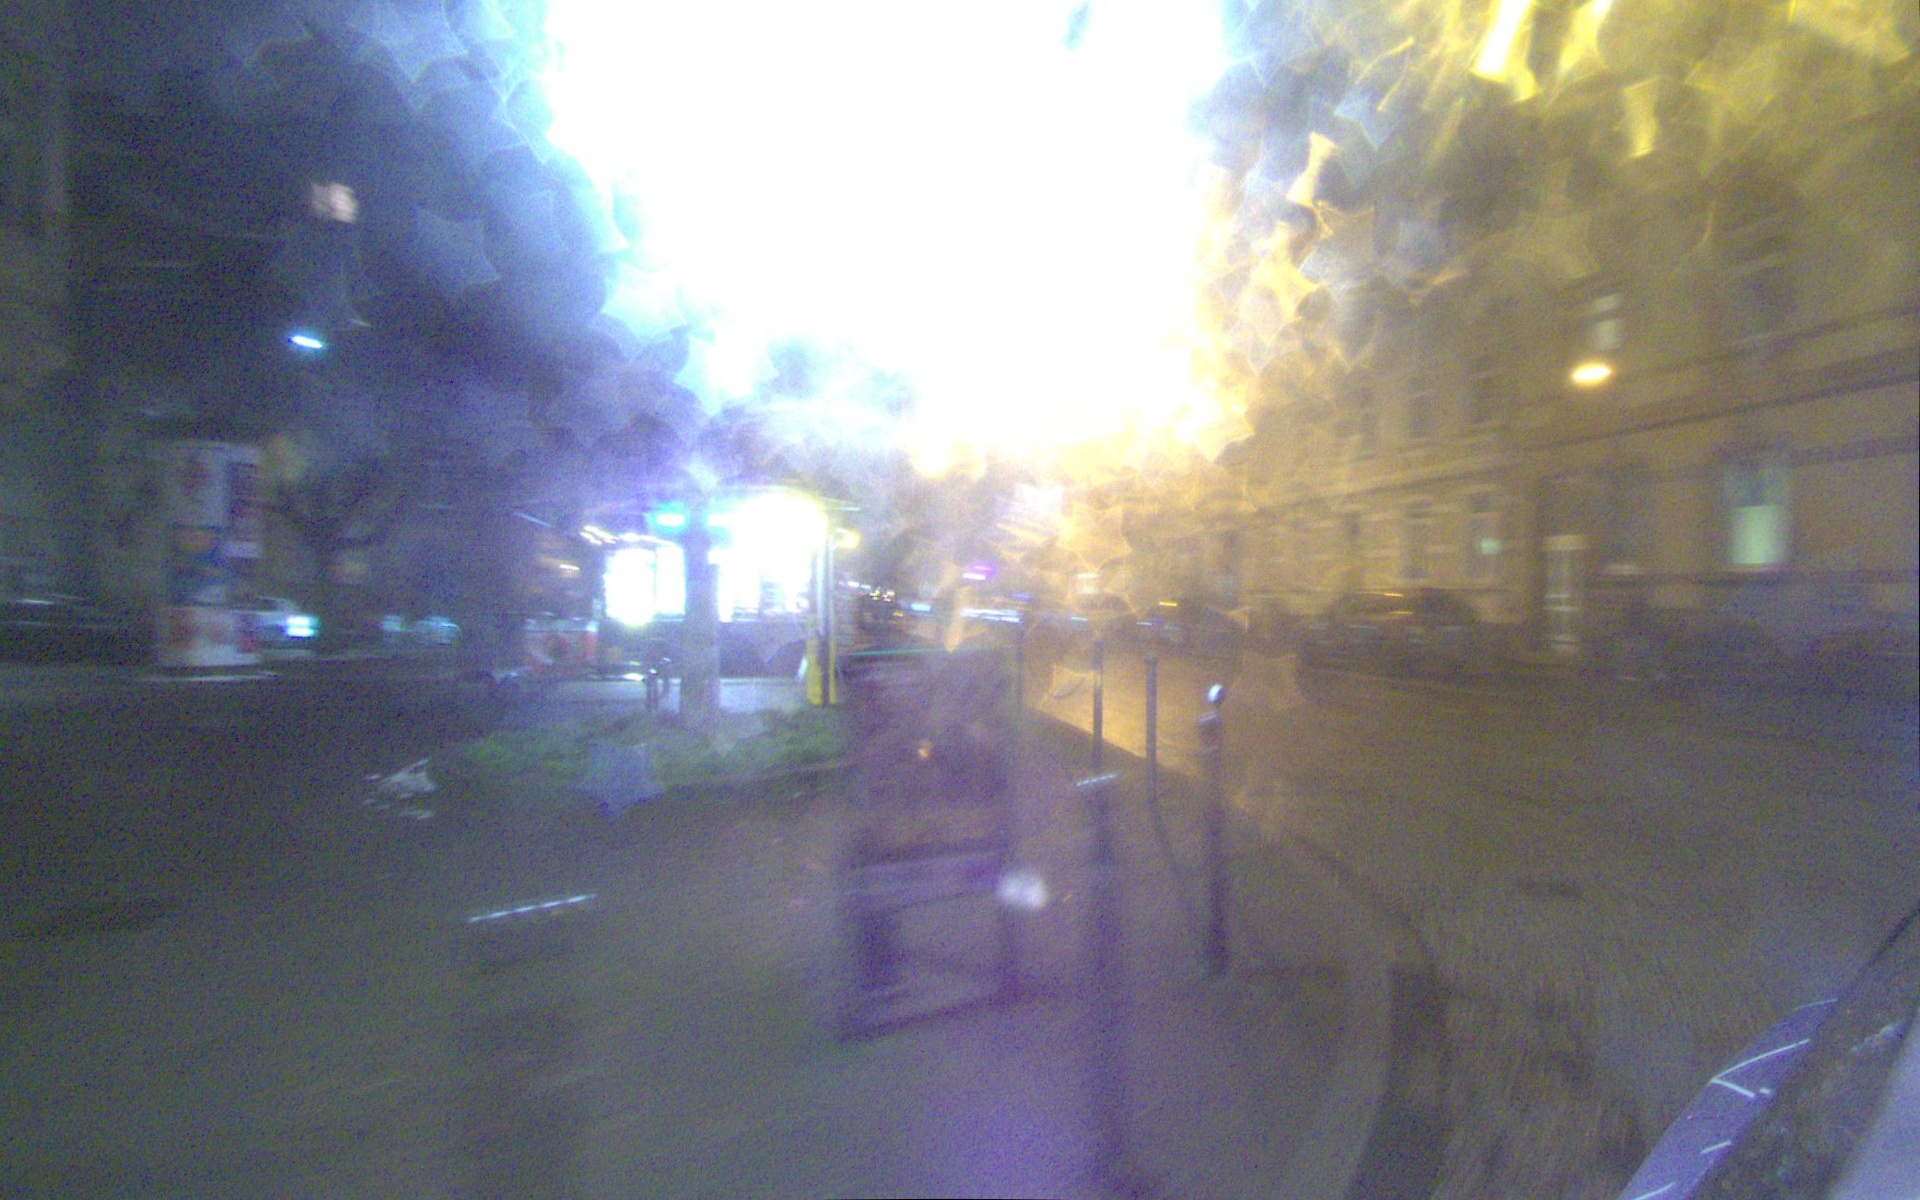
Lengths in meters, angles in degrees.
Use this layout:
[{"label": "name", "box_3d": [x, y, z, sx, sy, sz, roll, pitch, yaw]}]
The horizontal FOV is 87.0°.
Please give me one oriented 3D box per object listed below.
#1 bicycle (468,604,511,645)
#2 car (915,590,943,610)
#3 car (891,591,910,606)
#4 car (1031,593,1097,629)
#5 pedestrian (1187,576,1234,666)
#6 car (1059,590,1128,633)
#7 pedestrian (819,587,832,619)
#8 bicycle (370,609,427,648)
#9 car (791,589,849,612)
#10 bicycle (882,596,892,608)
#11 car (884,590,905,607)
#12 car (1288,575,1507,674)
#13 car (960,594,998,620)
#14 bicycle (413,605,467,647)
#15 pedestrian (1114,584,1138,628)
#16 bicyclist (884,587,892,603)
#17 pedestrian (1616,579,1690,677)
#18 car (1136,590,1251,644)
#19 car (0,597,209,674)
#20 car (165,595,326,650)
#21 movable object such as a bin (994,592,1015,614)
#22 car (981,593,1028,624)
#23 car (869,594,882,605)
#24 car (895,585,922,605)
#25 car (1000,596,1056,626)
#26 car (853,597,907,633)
[{"label": "bicycle", "box_3d": [-13.931, 0.711, 30.024, 0.498, 1.129, 1.986, -2, 1, -5]}, {"label": "car", "box_3d": [-2.646, -0.005, 85.196, 1.737, 1.501, 4.779, -3, 1, -9]}, {"label": "car", "box_3d": [-6.111, -0.195, 103.264, 1.542, 1.478, 3.725, 0, 0, -9]}, {"label": "car", "box_3d": [4.555, 0.445, 44.996, 1.801, 1.499, 4.314, 0, 0, -10]}, {"label": "pedestrian", "box_3d": [5.722, 0.470, 23.148, 0.754, 1.998, 0.659, -2, 1, -16]}, {"label": "car", "box_3d": [5.282, 0.423, 40.479, 1.715, 1.608, 3.772, 0, 0, -10]}, {"label": "pedestrian", "box_3d": [-7.687, 0.171, 57.765, 0.691, 1.811, 0.625, 2, -2, -6]}, {"label": "bicycle", "box_3d": [-16.414, 0.803, 29.638, 0.688, 1.022, 1.986, -2, 1, -5]}, {"label": "car", "box_3d": [-11.226, 0.029, 80.930, 4.433, 1.550, 1.783, 3, 0, -10]}, {"label": "bicycle", "box_3d": [-7.078, 0.199, 98.320, 0.714, 1.086, 2.352, 1, 0, -10]}, {"label": "car", "box_3d": [-7.287, -0.132, 112.251, 1.869, 1.852, 4.836, 0, 0, -9]}, {"label": "car", "box_3d": [8.553, 0.418, 20.330, 1.801, 1.738, 4.602, 0, 0, -10]}, {"label": "car", "box_3d": [1.166, 0.417, 62.612, 1.643, 1.510, 3.728, -1, 1, -10]}, {"label": "bicycle", "box_3d": [-15.264, 0.743, 29.768, 0.688, 1.129, 1.986, -2, 1, -5]}, {"label": "pedestrian", "box_3d": [7.131, 0.236, 43.557, 0.730, 1.826, 0.988, -2, 1, -6]}, {"label": "bicyclist", "box_3d": [-7.000, -0.500, 98.336, 0.706, 1.576, 0.897, 1, 0, -10]}, {"label": "pedestrian", "box_3d": [11.667, 0.454, 17.057, 0.644, 1.571, 0.764, -2, 1, -24]}, {"label": "car", "box_3d": [7.016, 0.459, 30.929, 1.801, 1.505, 4.602, 0, 0, -10]}, {"label": "car", "box_3d": [-18.528, 0.701, 21.058, 4.328, 1.521, 1.774, 0, 0, -13]}, {"label": "car", "box_3d": [-20.141, 0.602, 28.641, 3.346, 1.476, 1.612, 0, 0, -8]}, {"label": "movable object such as a bin", "box_3d": [3.076, 0.223, 69.975, 1.082, 1.472, 1.381, 1, 0, -11]}, {"label": "car", "box_3d": [2.391, 0.436, 55.768, 1.743, 1.592, 4.141, 0, 0, -10]}, {"label": "car", "box_3d": [-11.305, -0.118, 135.705, 1.501, 1.472, 3.389, 0, 0, -9]}, {"label": "car", "box_3d": [-4.998, -0.517, 97.417, 1.961, 1.852, 5.214, 0, 0, -9]}, {"label": "car", "box_3d": [3.335, 0.528, 50.306, 1.790, 1.407, 4.433, 0, 0, -10]}, {"label": "car", "box_3d": [-3.464, 0.602, 43.277, 1.884, 1.430, 4.007, 0, 0, -10]}]
